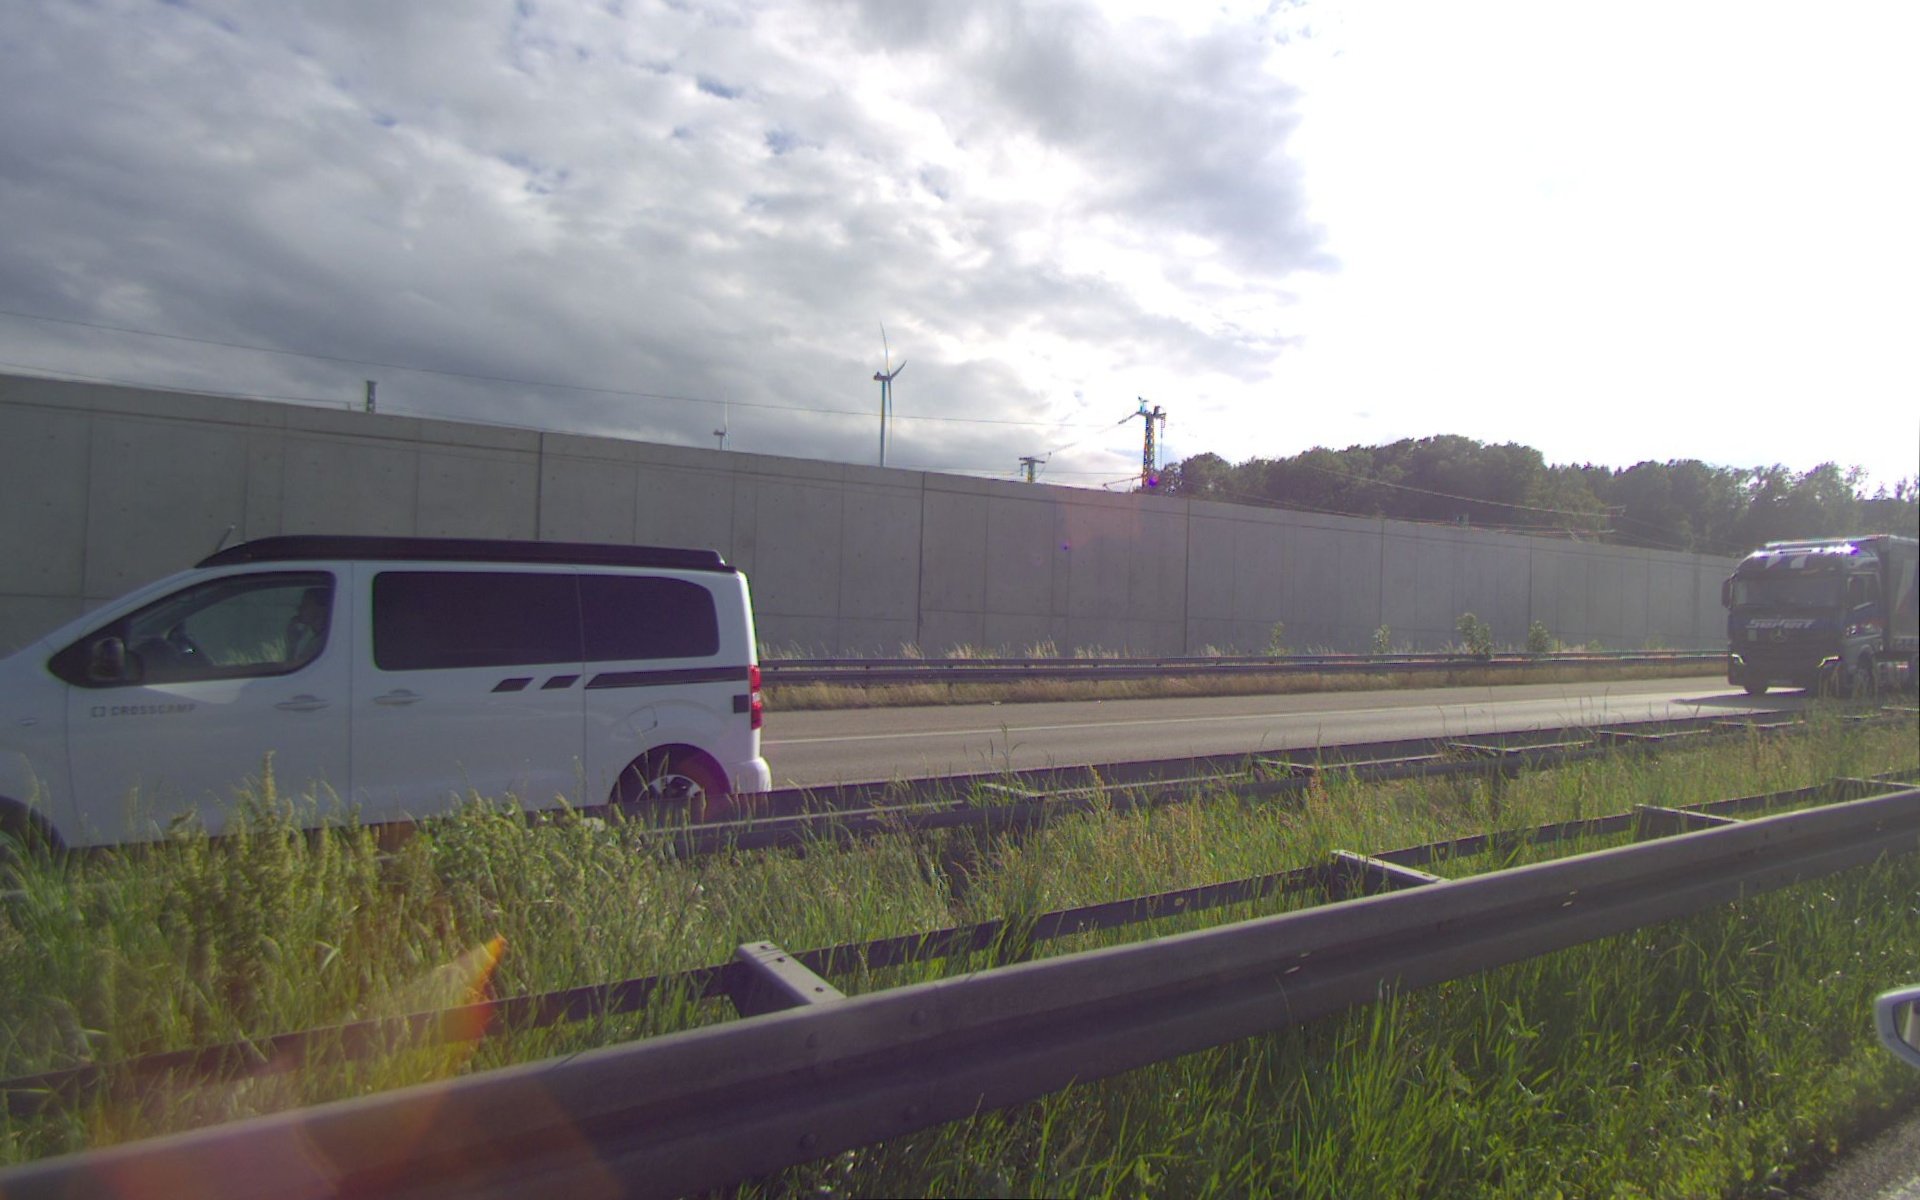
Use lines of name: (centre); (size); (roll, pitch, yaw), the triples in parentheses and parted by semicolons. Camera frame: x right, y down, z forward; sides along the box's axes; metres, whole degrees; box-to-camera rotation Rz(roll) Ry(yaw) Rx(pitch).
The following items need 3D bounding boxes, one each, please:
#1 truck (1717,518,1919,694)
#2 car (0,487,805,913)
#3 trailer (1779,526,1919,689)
truck: (23.302, 0.247, 26.618); (6.872, 4.144, 2.741); (2, -1, -30)
car: (-3.536, 0.527, 6.113); (4.731, 1.908, 1.984); (2, -3, -30)
trailer: (29.085, 0.407, 30.109); (12.754, 4.169, 2.746); (2, -1, -31)
